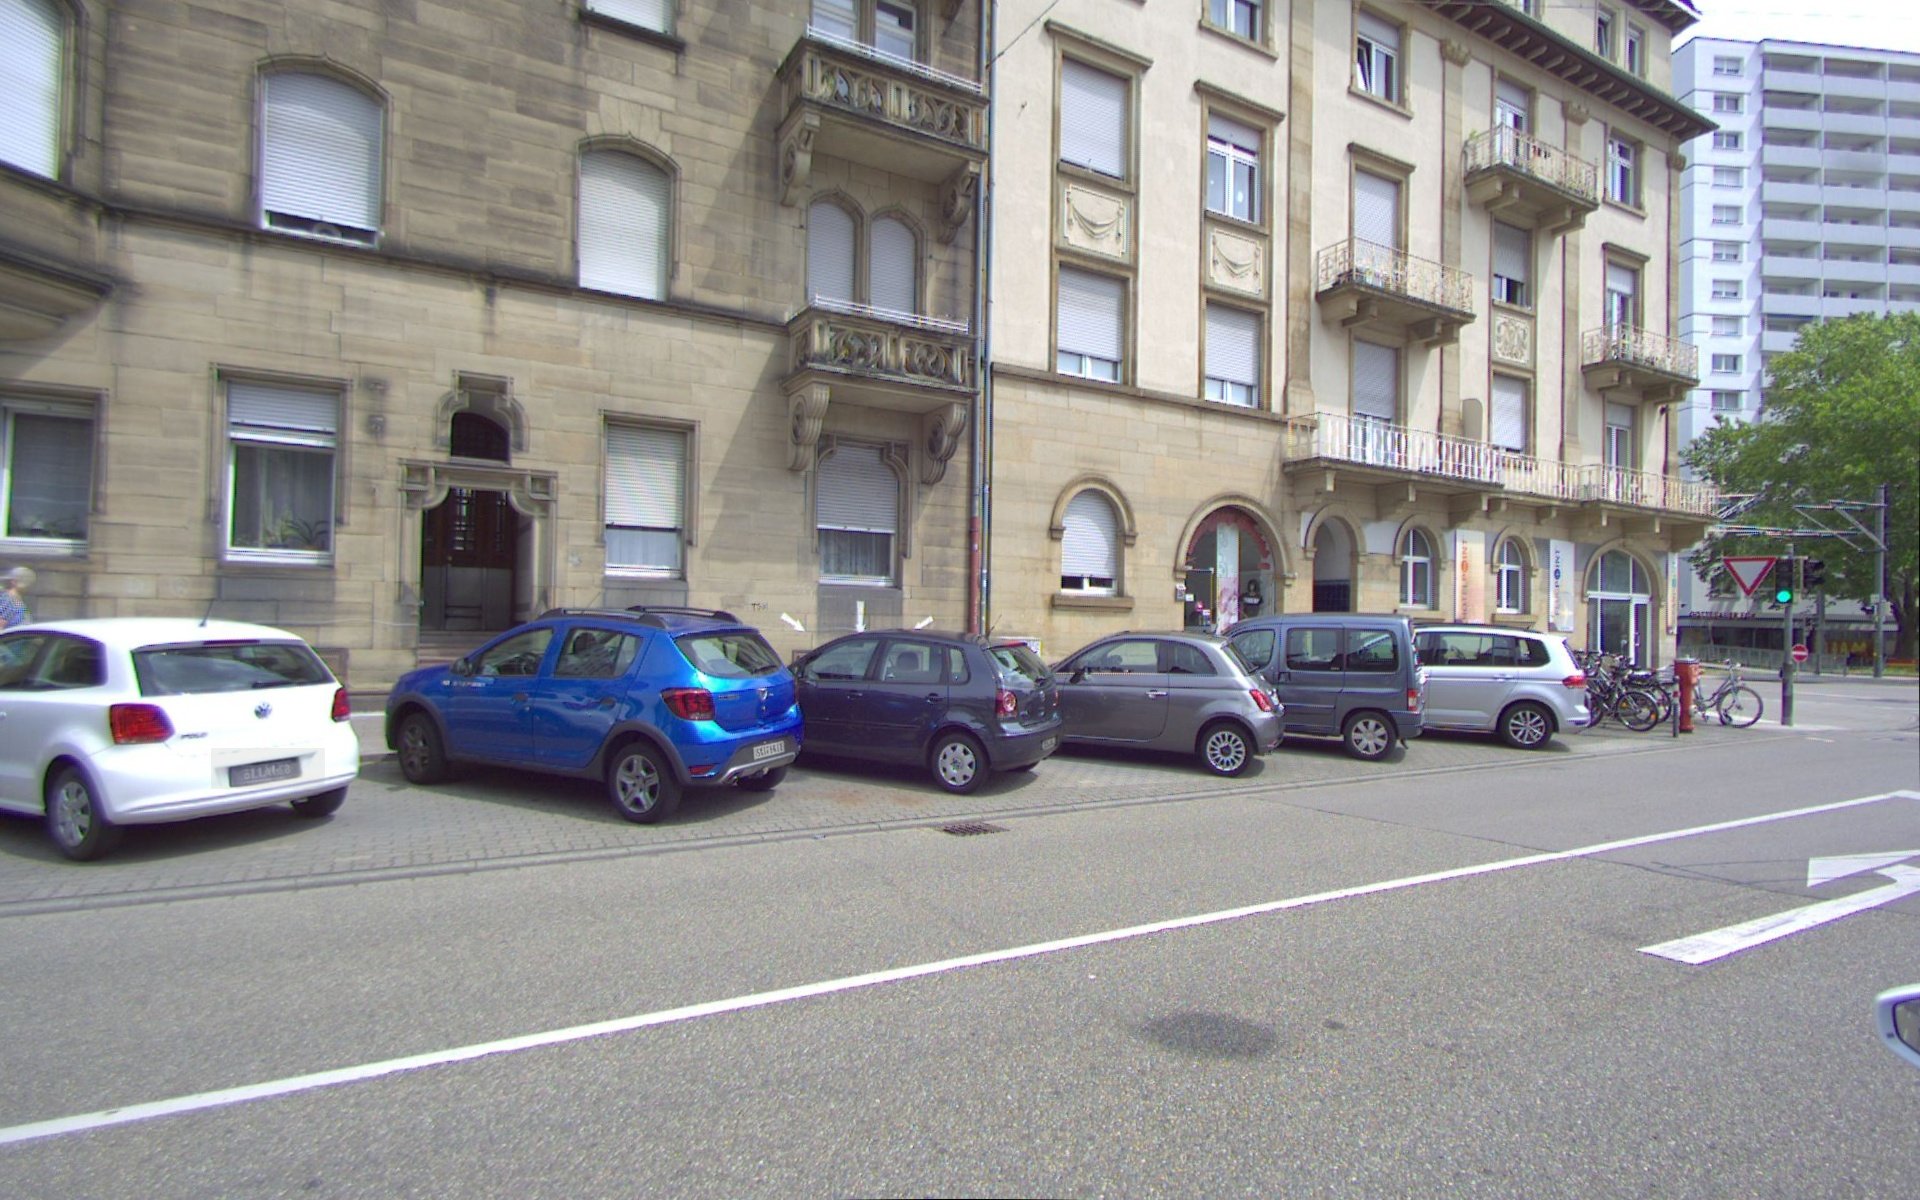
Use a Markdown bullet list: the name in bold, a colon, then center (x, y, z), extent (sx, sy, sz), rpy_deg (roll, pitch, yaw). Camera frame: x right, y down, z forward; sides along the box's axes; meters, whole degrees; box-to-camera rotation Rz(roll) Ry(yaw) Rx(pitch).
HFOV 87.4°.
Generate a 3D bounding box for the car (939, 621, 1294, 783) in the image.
- **car**: center (1.908, 1.107, 12.122), extent (3.934, 1.673, 1.796), rpy_deg (0, -1, 22)

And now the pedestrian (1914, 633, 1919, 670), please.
- **pedestrian**: center (41.779, 2.235, 43.226), extent (0.709, 1.593, 0.810), rpy_deg (0, -1, 14)

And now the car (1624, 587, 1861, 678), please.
- **car**: center (37.736, 1.551, 49.169), extent (3.389, 3.967, 9.911), rpy_deg (1, -1, -5)

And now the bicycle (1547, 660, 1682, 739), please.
- **bicycle**: center (10.496, 1.571, 16.178), extent (0.586, 1.135, 1.805), rpy_deg (1, -2, -23)

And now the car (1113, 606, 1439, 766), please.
- **car**: center (4.205, 1.046, 13.535), extent (3.934, 1.903, 1.796), rpy_deg (0, -1, 22)

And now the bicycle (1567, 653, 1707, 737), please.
- **bicycle**: center (11.039, 1.512, 16.452), extent (0.586, 1.135, 1.803), rpy_deg (1, 2, -25)

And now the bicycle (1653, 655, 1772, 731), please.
- **bicycle**: center (13.540, 1.645, 18.145), extent (0.489, 1.182, 1.878), rpy_deg (2, 0, -8)

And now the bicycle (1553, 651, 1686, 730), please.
- **bicycle**: center (11.366, 1.535, 17.370), extent (0.588, 1.182, 1.796), rpy_deg (1, 1, -37)

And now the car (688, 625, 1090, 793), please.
- **car**: center (-0.741, 1.013, 10.608), extent (3.830, 1.463, 1.836), rpy_deg (0, -1, 25)

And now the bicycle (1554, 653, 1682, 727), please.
- **bicycle**: center (11.728, 1.578, 17.963), extent (0.588, 1.135, 1.796), rpy_deg (1, 1, -37)

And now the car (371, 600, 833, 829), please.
- **car**: center (-3.171, 0.859, 8.915), extent (3.706, 1.673, 1.723), rpy_deg (0, -1, 24)

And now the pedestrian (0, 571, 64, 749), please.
- **pedestrian**: center (-9.020, 0.542, 9.478), extent (0.671, 1.616, 0.787), rpy_deg (1, 1, -30)

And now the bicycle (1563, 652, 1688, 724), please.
- **bicycle**: center (12.222, 1.589, 18.494), extent (0.588, 1.135, 1.796), rpy_deg (1, 1, -37)

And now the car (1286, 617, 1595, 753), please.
- **car**: center (6.999, 1.166, 15.003), extent (3.934, 1.797, 1.796), rpy_deg (0, -1, 22)

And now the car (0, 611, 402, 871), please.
- **car**: center (-6.133, 0.844, 7.390), extent (3.616, 1.501, 1.741), rpy_deg (0, -1, 25)
